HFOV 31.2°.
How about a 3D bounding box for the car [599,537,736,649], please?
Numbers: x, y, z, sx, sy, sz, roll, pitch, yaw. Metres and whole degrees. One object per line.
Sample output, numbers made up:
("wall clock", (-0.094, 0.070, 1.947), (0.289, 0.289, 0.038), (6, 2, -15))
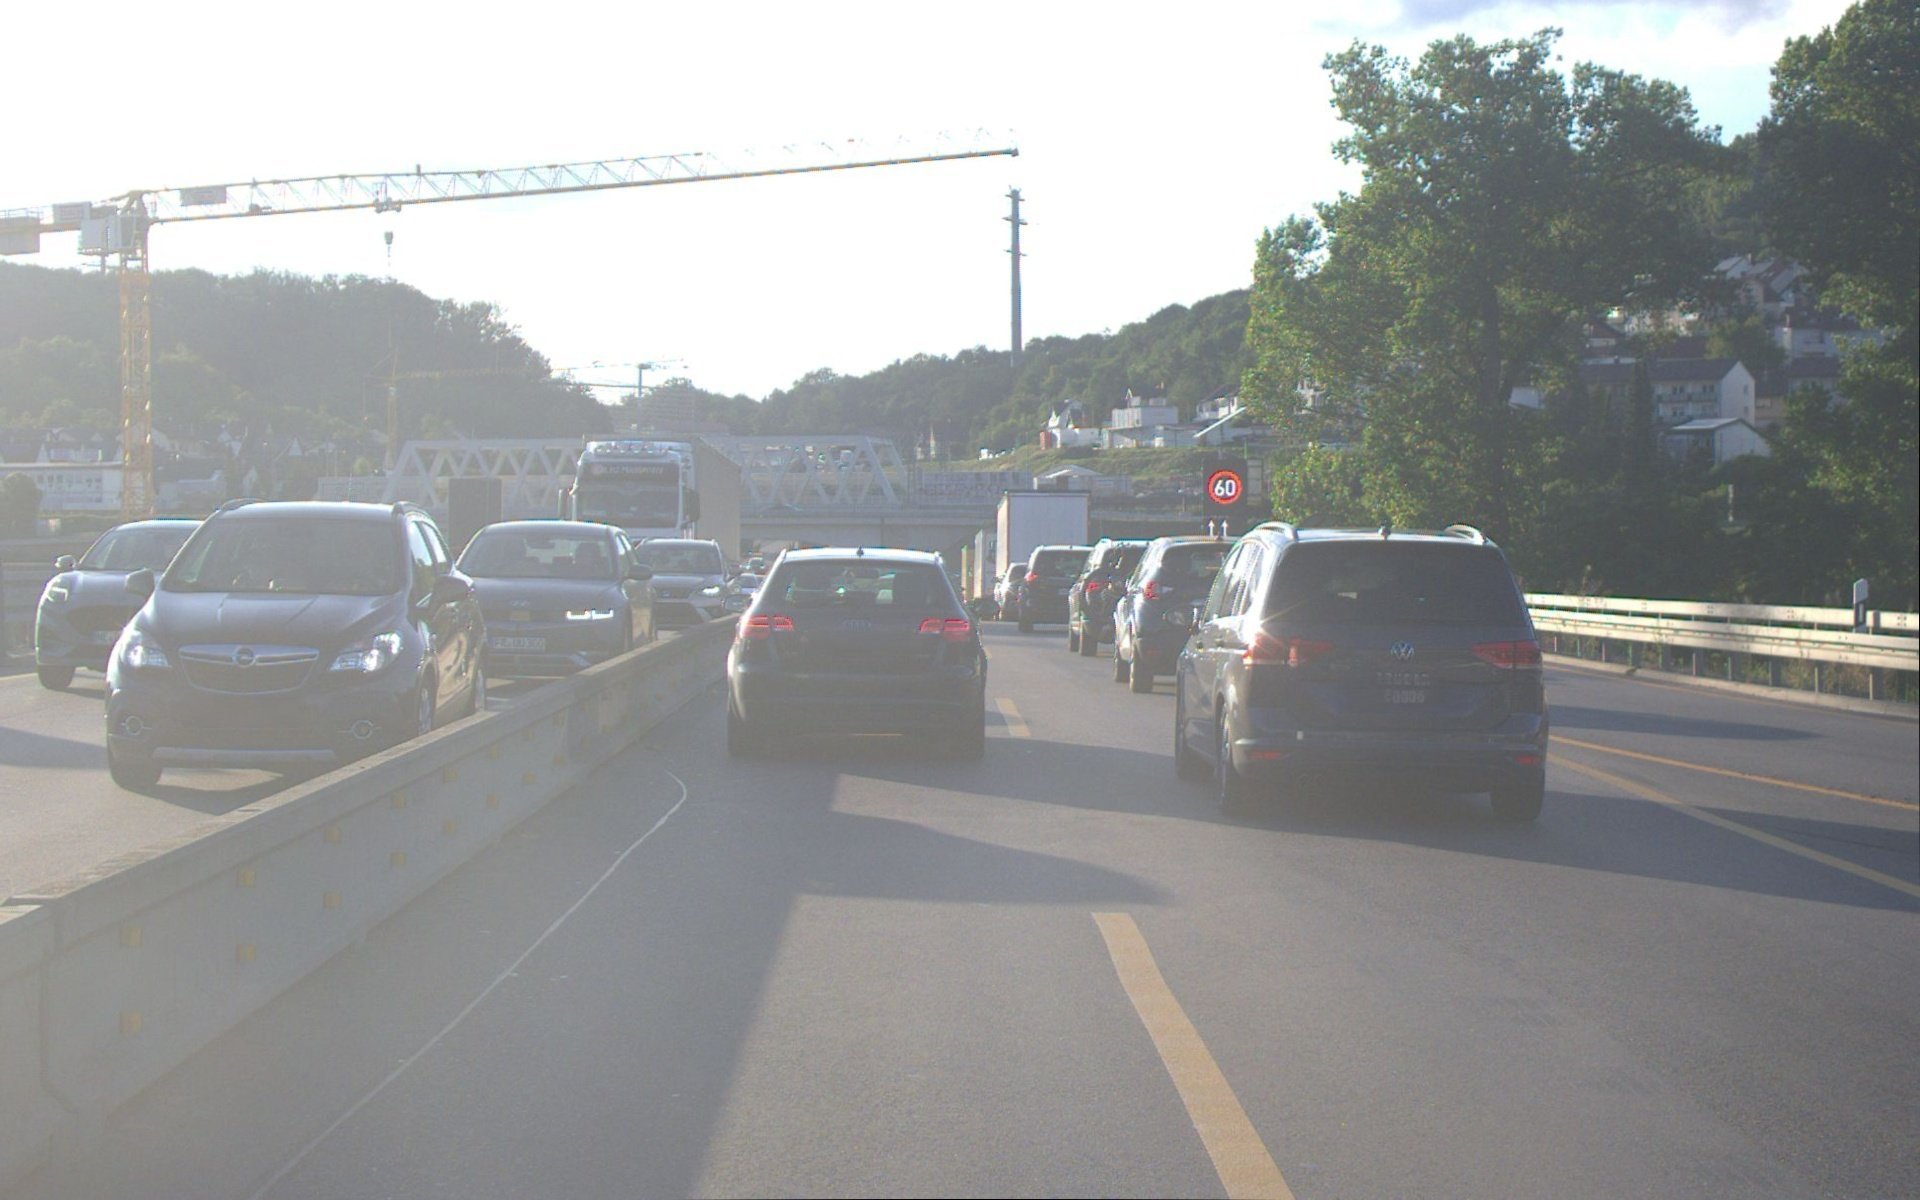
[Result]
("car", (-4.246, -0.102, 50.397), (1.766, 1.529, 4.000), (1, 0, -2))

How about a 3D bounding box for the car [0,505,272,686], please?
("car", (-7.699, -0.070, 32.307), (1.691, 1.563, 4.293), (1, 1, -1))

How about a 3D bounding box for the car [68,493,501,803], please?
("car", (-3.915, 0.222, 20.667), (1.827, 1.634, 4.530), (1, 1, -2))

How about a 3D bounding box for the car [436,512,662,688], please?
("car", (-3.948, -0.039, 33.678), (1.743, 1.578, 4.706), (1, 1, -1))

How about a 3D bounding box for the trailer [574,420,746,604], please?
("trailer", (-7.044, -2.000, 82.817), (2.814, 4.037, 14.021), (0, 0, 0))

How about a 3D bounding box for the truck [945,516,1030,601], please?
("truck", (1.474, -2.361, 193.521), (3.890, 4.483, 13.850), (2, 1, -3))

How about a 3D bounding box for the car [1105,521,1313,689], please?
("car", (2.493, 0.032, 35.255), (1.774, 1.580, 4.135), (1, 0, 0))

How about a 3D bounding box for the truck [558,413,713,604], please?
("truck", (-7.089, -1.957, 75.792), (2.814, 4.035, 5.672), (0, 0, 1))

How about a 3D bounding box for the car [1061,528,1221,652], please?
("car", (2.437, -0.120, 47.384), (1.875, 1.594, 4.966), (1, 0, -1))

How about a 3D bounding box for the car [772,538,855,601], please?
("car", (-3.858, -0.812, 91.032), (1.993, 1.614, 4.605), (0, 0, 0))

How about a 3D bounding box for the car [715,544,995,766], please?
("car", (-0.753, 0.324, 24.186), (1.770, 1.385, 4.001), (1, 1, -2))

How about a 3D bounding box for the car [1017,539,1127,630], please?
("car", (2.088, -0.278, 65.284), (1.814, 1.627, 4.411), (1, 0, -1))

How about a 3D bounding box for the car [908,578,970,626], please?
("car", (-0.661, 0.062, 108.214), (1.863, 1.415, 4.000), (2, 0, -1))

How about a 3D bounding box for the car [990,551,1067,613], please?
("car", (1.792, -0.474, 91.292), (1.770, 1.547, 4.000), (2, 0, -2))

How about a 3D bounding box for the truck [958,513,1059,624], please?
("truck", (2.017, -1.427, 150.840), (3.890, 4.483, 15.268), (2, 1, -1))

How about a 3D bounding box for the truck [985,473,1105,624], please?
("truck", (2.640, -1.807, 112.010), (3.385, 4.482, 15.268), (2, 2, 0))

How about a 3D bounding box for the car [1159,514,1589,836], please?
("car", (2.308, 0.338, 20.335), (1.812, 1.609, 4.527), (3, 1, -2))
